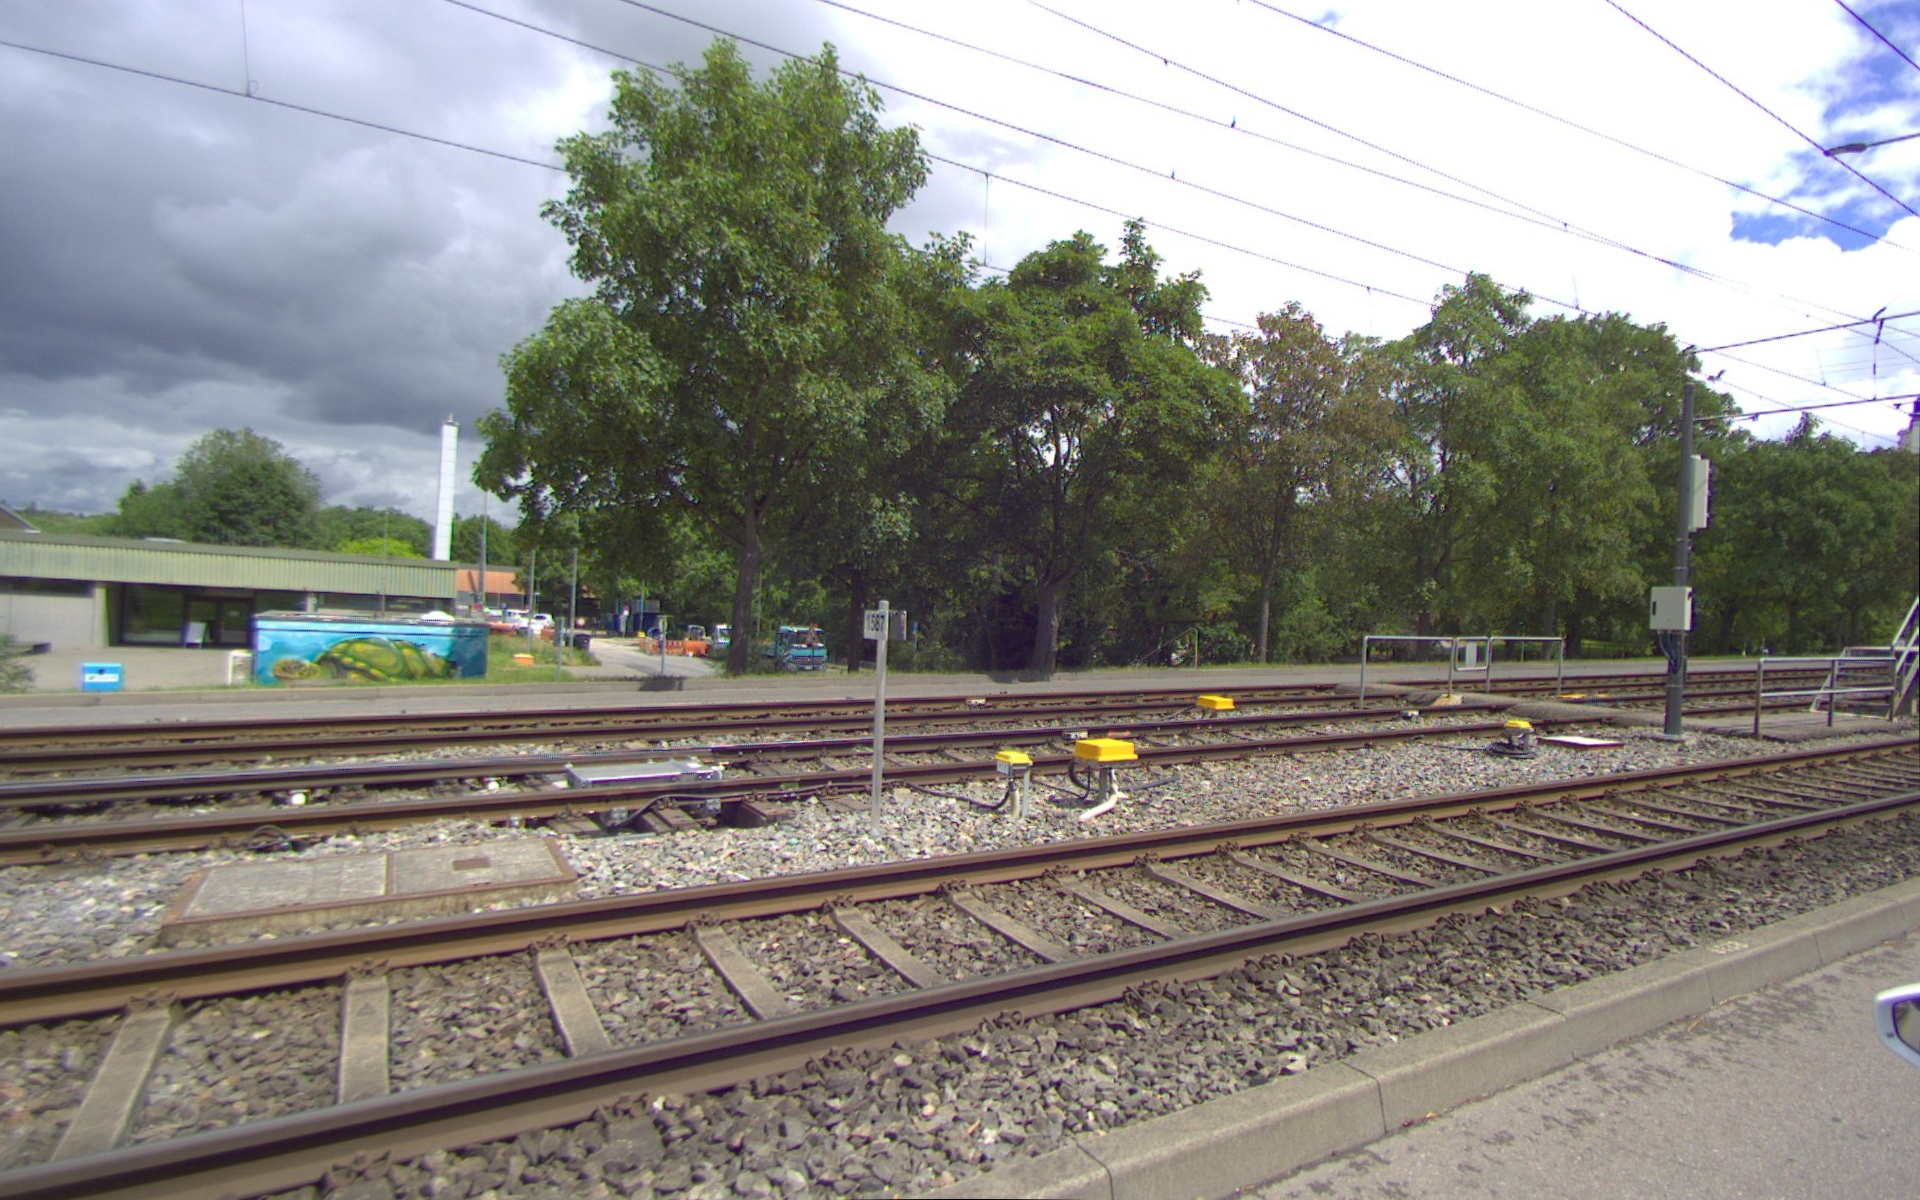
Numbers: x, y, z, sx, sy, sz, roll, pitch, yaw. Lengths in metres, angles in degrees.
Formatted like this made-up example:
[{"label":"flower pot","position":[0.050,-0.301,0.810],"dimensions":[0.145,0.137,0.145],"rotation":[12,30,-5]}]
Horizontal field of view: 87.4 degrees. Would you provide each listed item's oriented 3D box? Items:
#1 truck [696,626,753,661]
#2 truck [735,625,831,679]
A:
[{"label":"truck","position":[-15.574,2.823,66.133],"dimensions":[1.977,2.207,5.799],"rotation":[1,-2,-31]},{"label":"truck","position":[-9.945,2.794,55.534],"dimensions":[2.583,2.731,9.053],"rotation":[1,-2,-28]}]
